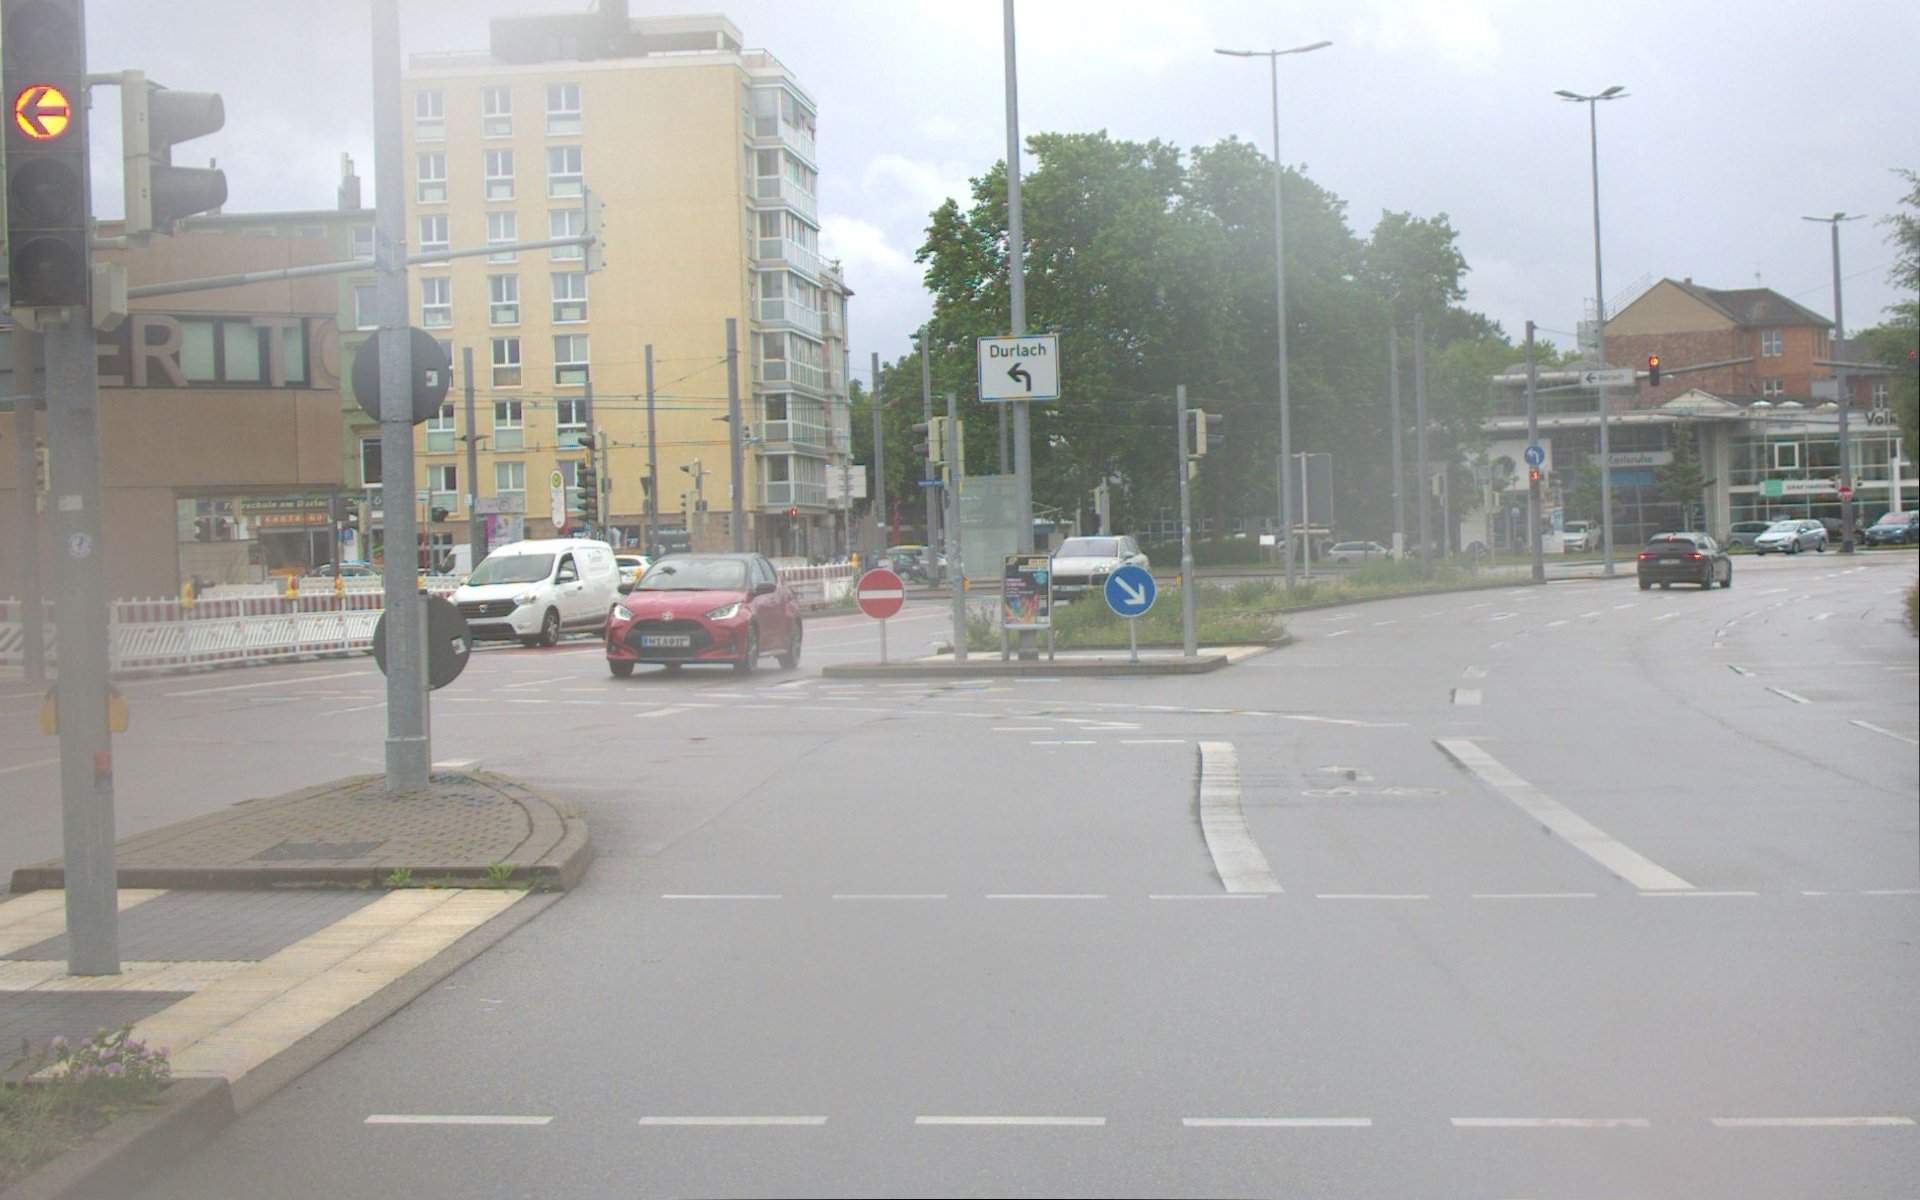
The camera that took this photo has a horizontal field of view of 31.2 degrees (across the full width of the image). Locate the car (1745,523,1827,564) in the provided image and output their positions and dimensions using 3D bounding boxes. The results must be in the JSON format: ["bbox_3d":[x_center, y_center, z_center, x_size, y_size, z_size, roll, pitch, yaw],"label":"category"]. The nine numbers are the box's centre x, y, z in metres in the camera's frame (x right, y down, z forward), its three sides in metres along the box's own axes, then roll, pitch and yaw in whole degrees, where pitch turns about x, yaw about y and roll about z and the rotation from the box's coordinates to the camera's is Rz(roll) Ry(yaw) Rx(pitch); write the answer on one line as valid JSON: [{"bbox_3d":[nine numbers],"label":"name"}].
[{"bbox_3d":[35.630,-2.432,148.288,1.794,1.637,4.150,-1,1,39],"label":"car"}]

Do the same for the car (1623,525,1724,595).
[{"bbox_3d":[18.038,-1.025,86.813,1.792,1.637,4.155,-1,1,21],"label":"car"}]

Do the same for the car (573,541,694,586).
[{"bbox_3d":[-12.773,-1.446,134.669,4.383,1.637,1.795,-1,1,8],"label":"car"}]

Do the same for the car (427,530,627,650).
[{"bbox_3d":[-7.120,-0.195,56.959,1.791,1.852,4.156,-1,1,15],"label":"car"}]

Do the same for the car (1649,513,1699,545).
[{"bbox_3d":[38.133,-3.788,183.522,1.792,1.637,4.154,-1,1,23],"label":"car"}]

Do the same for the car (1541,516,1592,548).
[{"bbox_3d":[32.887,-3.689,186.483,1.792,1.637,4.154,-1,1,23],"label":"car"}]

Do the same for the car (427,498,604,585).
[{"bbox_3d":[-18.261,-2.414,141.447,6.742,3.368,2.809,-2,1,2],"label":"car"}]

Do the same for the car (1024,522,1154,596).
[{"bbox_3d":[3.106,-0.998,81.773,1.792,1.637,4.155,-1,1,21],"label":"car"}]

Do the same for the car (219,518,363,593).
[{"bbox_3d":[-27.632,-1.854,142.088,5.351,2.877,2.339,-2,1,2],"label":"car"}]

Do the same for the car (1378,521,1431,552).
[{"bbox_3d":[24.567,-3.501,189.962,1.792,1.637,4.154,-1,1,23],"label":"car"}]

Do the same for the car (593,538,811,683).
[{"bbox_3d":[-3.113,0.090,42.262,1.790,1.637,4.045,-1,1,8],"label":"car"}]

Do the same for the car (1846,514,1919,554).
[{"bbox_3d":[40.638,-2.902,150.336,1.794,1.637,4.149,0,2,44],"label":"car"}]
